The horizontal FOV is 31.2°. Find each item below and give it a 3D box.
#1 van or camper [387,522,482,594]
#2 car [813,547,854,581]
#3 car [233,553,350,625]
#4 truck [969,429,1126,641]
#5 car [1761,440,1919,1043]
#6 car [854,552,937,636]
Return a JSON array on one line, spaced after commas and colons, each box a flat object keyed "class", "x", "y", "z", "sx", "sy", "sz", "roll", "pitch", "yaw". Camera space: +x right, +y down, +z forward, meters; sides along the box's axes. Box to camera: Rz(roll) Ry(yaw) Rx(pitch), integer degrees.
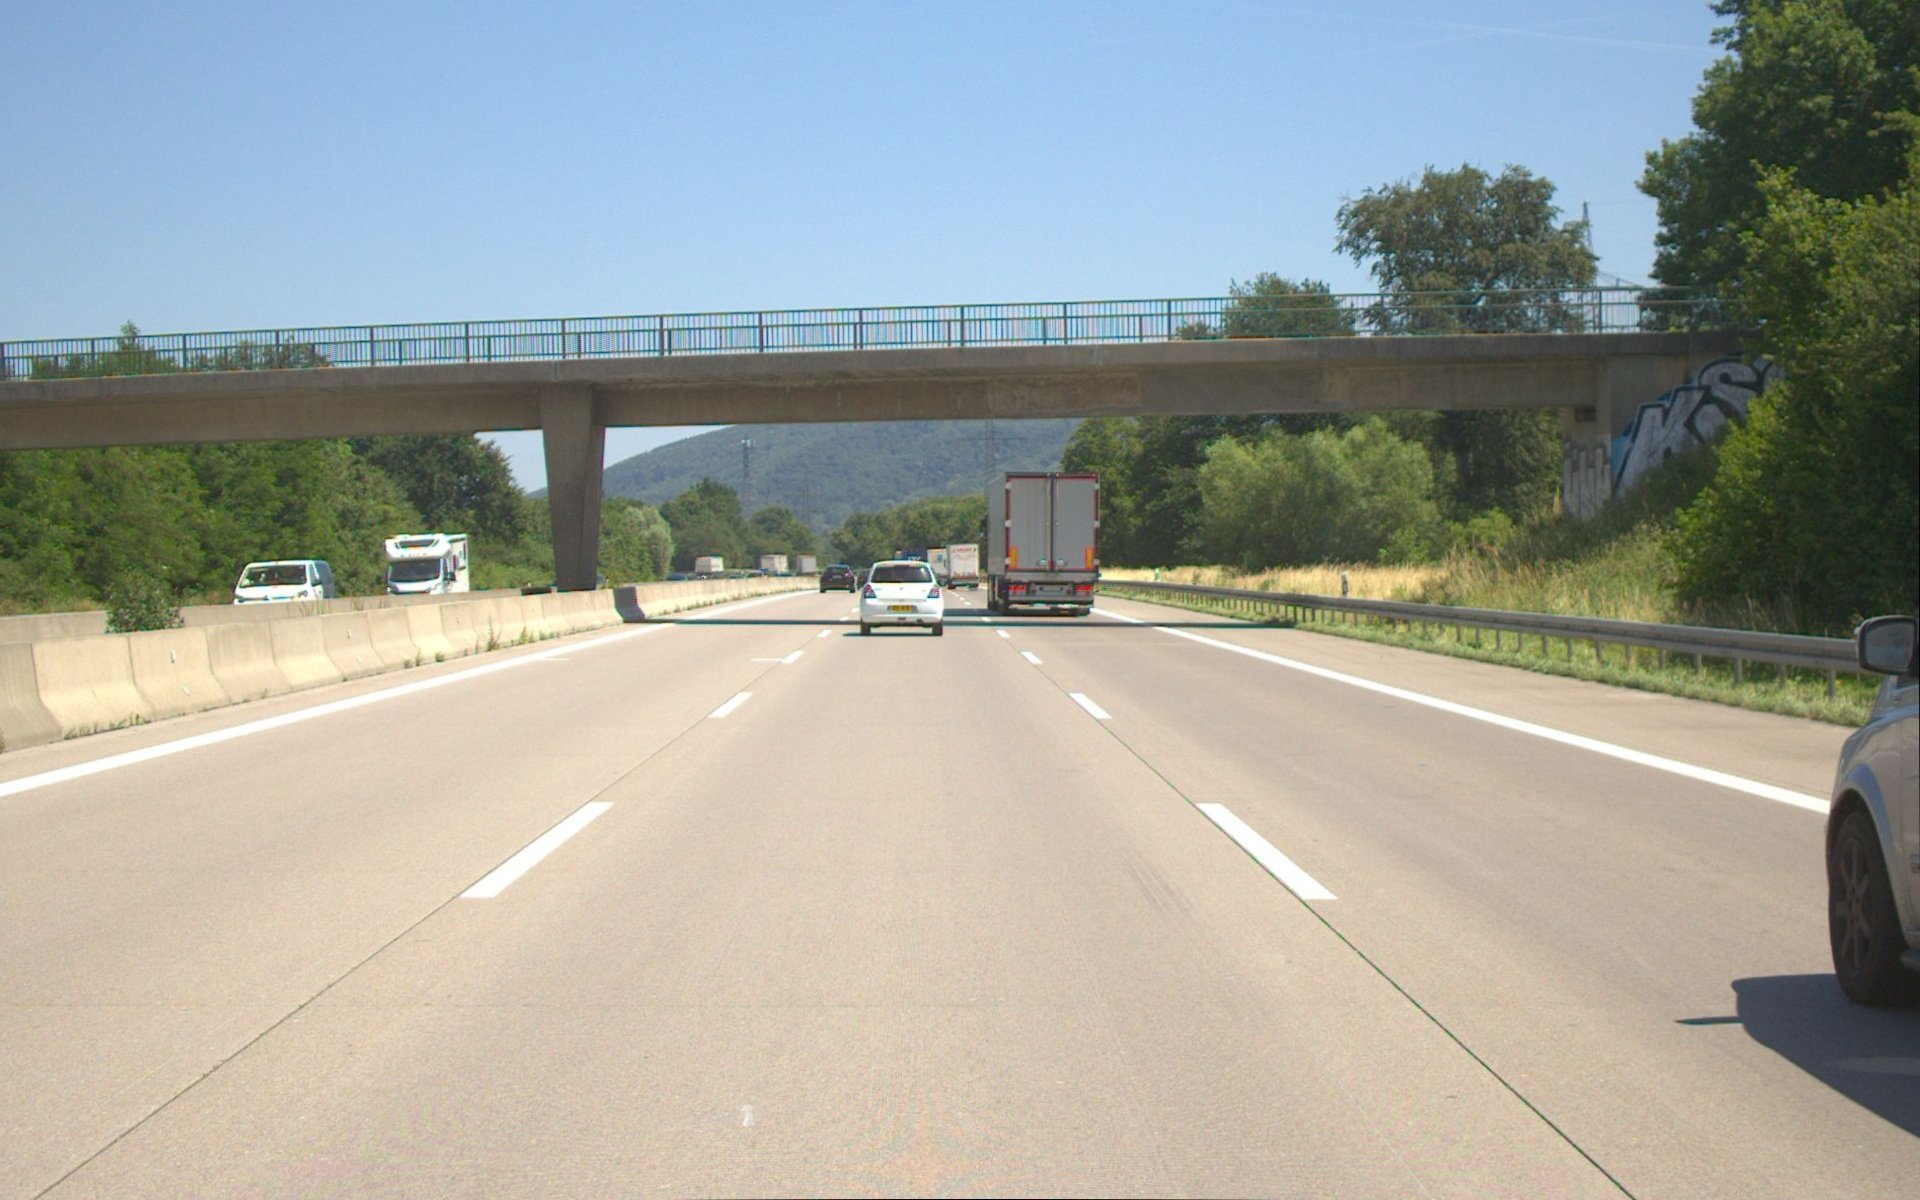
[{"class": "van or camper", "x": -18.461, "y": -1.479, "z": 121.130, "sx": 2.248, "sy": 2.435, "sz": 7.803, "roll": 1, "pitch": 1, "yaw": -1}, {"class": "car", "x": -6.573, "y": -1.881, "z": 178.143, "sx": 2.022, "sy": 1.695, "sz": 4.001, "roll": 1, "pitch": 0, "yaw": -3}, {"class": "car", "x": -16.417, "y": -0.296, "z": 84.660, "sx": 1.826, "sy": 1.712, "sz": 5.793, "roll": 0, "pitch": 1, "yaw": -1}, {"class": "truck", "x": 2.404, "y": -1.916, "z": 102.937, "sx": 3.577, "sy": 5.767, "sz": 18.249, "roll": 0, "pitch": 1, "yaw": -2}, {"class": "car", "x": 3.944, "y": 0.452, "z": 10.128, "sx": 1.879, "sy": 1.882, "sz": 5.280, "roll": 0, "pitch": 1, "yaw": -1}, {"class": "car", "x": -1.311, "y": -0.147, "z": 70.364, "sx": 1.641, "sy": 1.656, "sz": 3.360, "roll": 1, "pitch": 1, "yaw": -1}]
